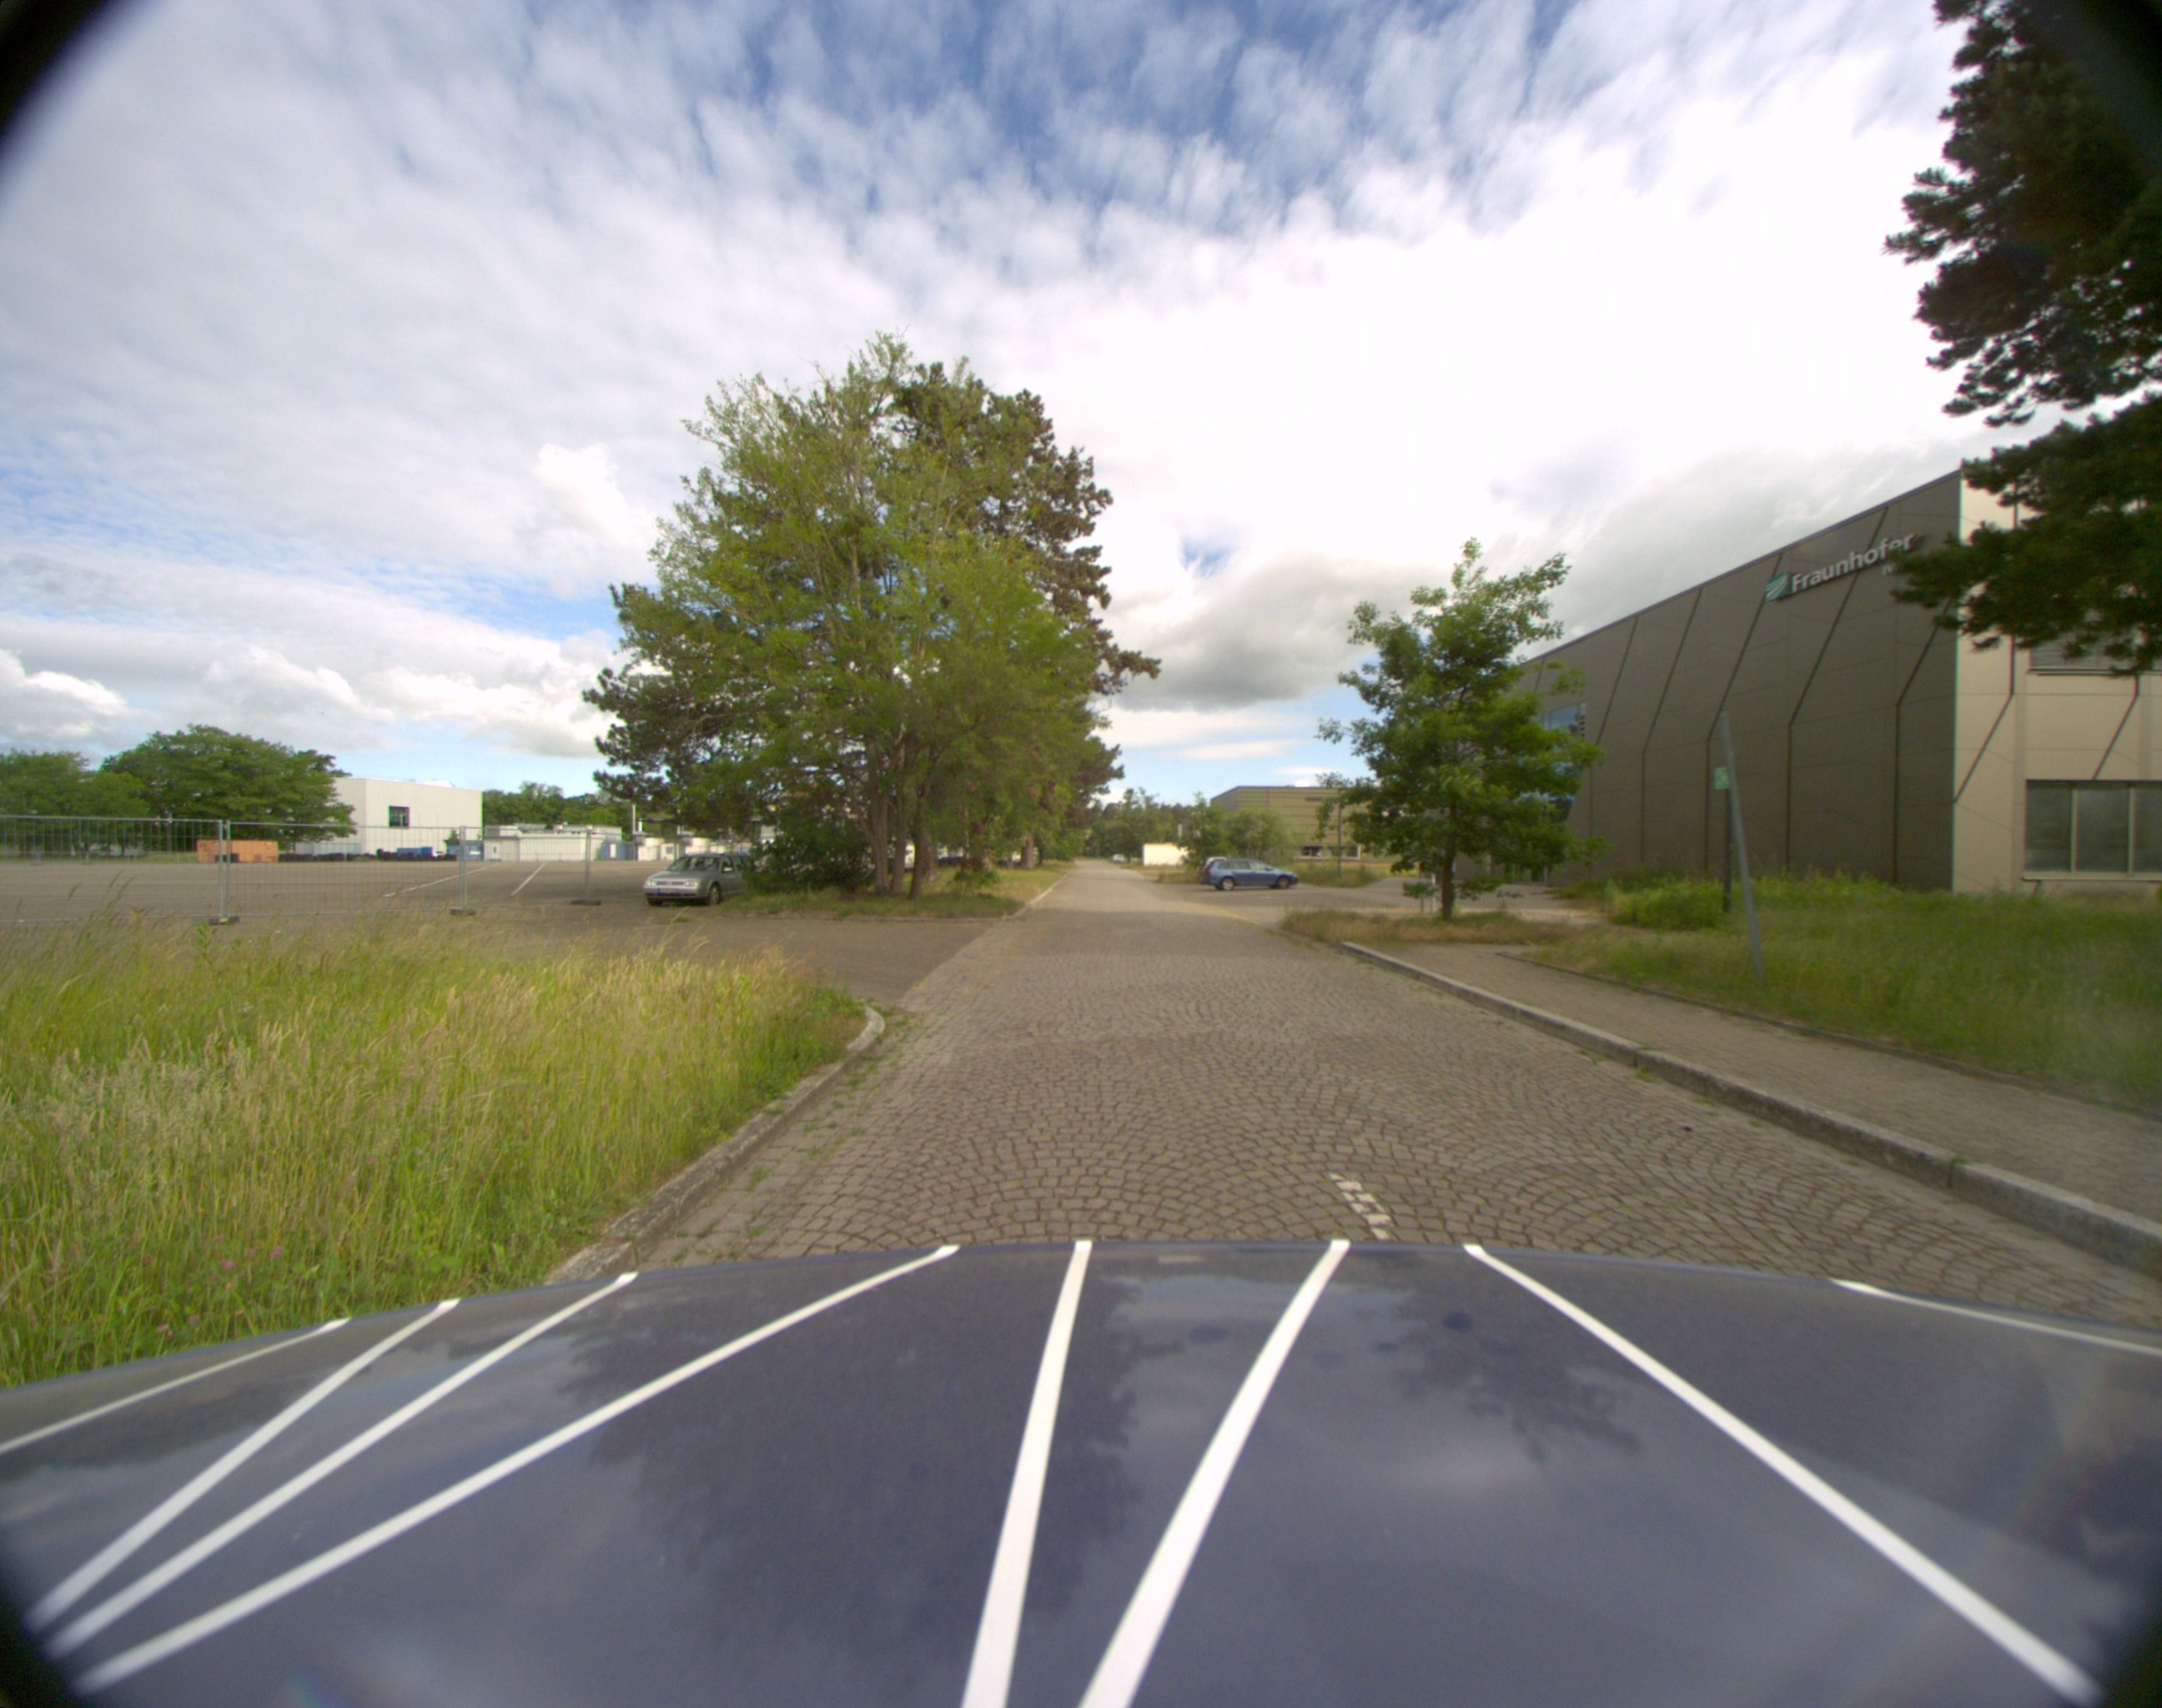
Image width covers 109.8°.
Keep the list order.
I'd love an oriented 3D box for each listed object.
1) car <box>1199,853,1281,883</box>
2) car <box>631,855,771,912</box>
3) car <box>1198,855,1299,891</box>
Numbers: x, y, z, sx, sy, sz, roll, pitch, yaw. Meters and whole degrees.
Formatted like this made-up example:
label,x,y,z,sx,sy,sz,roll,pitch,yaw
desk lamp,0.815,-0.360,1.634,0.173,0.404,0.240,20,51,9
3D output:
label,x,y,z,sx,sy,sz,roll,pitch,yaw
car,9.036,0.810,43.449,4.400,1.537,1.842,-2,0,7
car,-10.745,0.759,21.856,1.759,1.440,4.327,1,0,2
car,7.918,0.885,36.160,4.404,1.501,1.716,-2,1,-2
